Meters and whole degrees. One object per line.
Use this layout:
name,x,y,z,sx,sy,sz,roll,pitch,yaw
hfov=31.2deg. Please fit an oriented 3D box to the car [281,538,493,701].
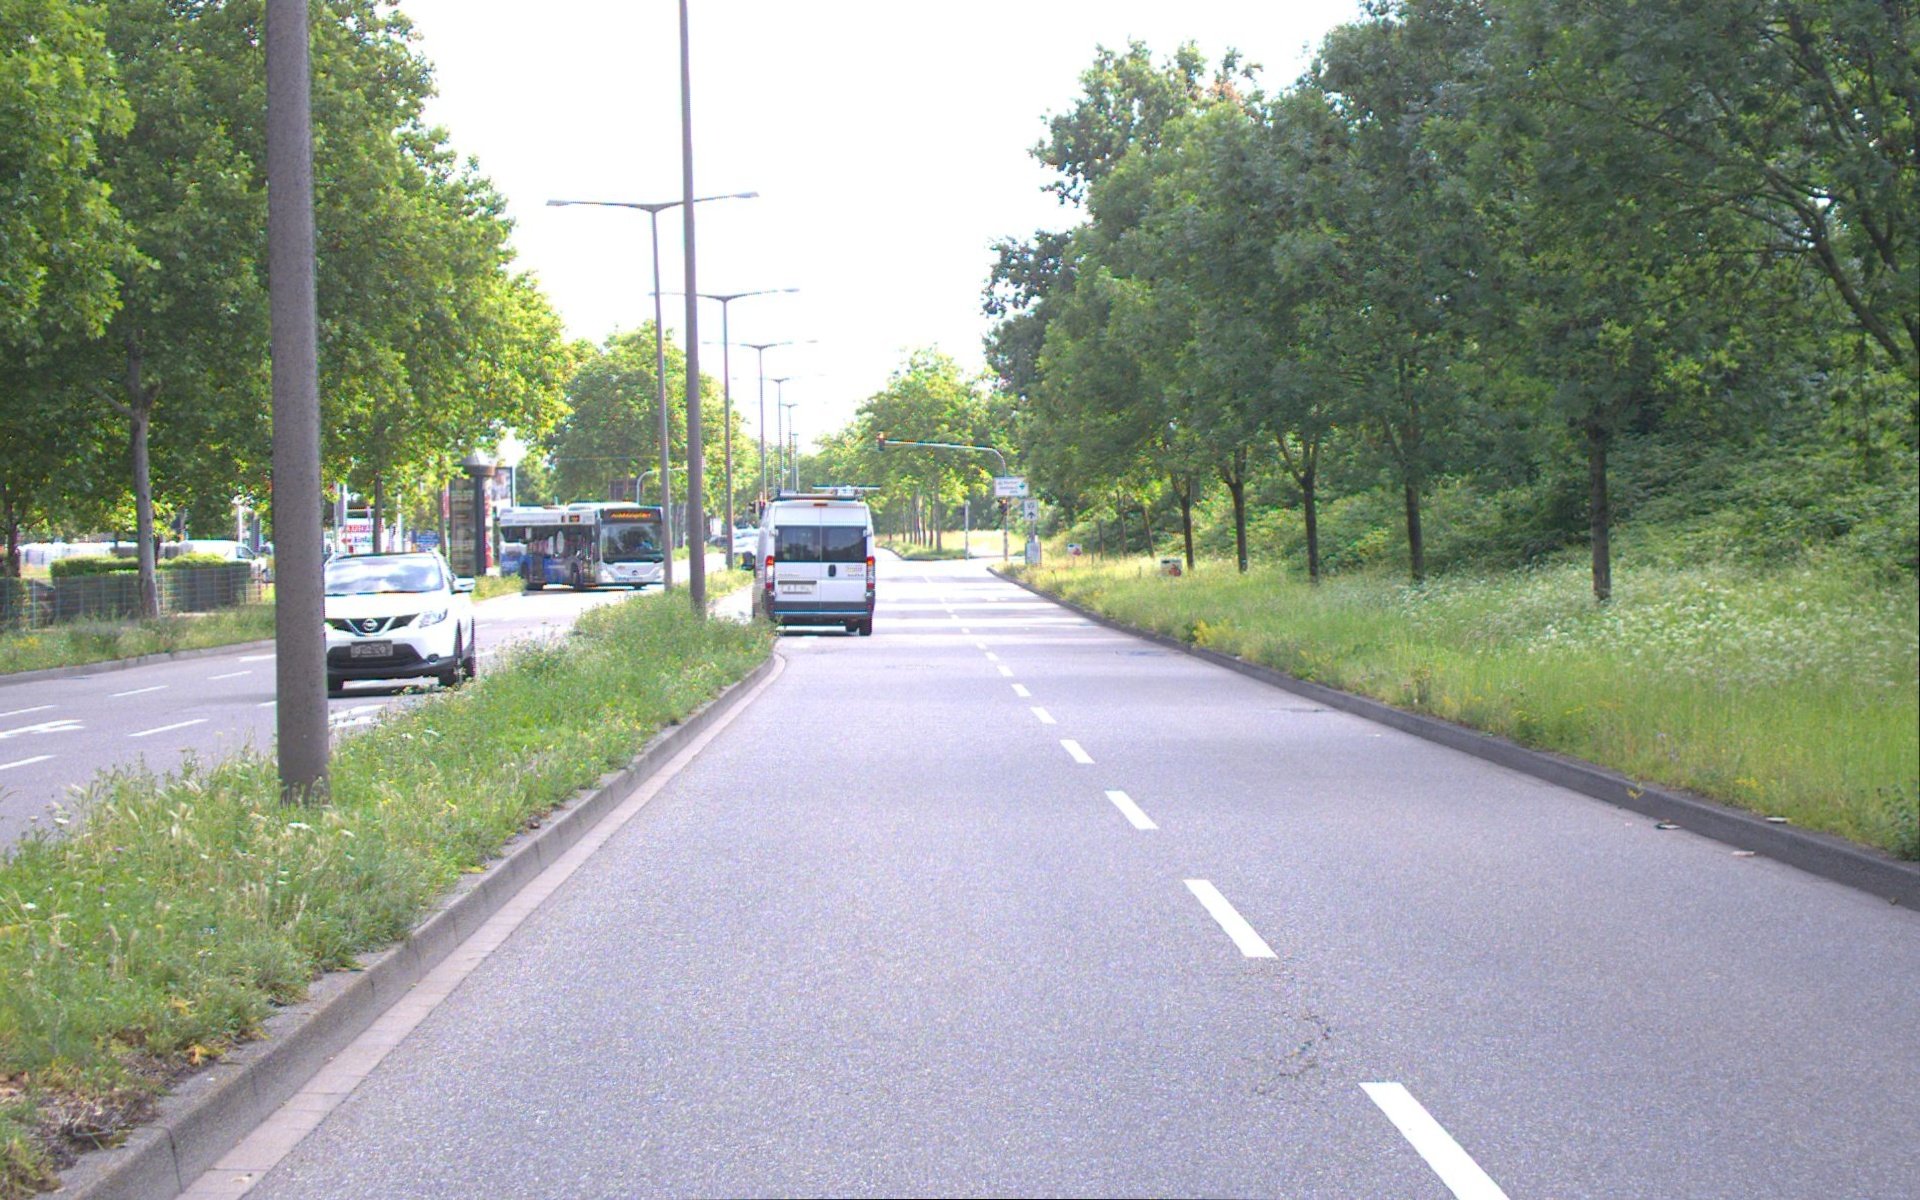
car,-6.440,0.168,39.038,1.813,1.634,4.352,-3,1,-3

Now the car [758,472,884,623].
car,-2.650,-0.961,64.578,2.197,2.717,4.932,0,0,-4

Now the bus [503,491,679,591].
bus,-13.412,-2.044,123.735,3.108,3.263,12.340,-3,1,-21

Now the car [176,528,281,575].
car,-31.080,-2.048,146.139,3.988,1.832,1.864,1,-3,-40
